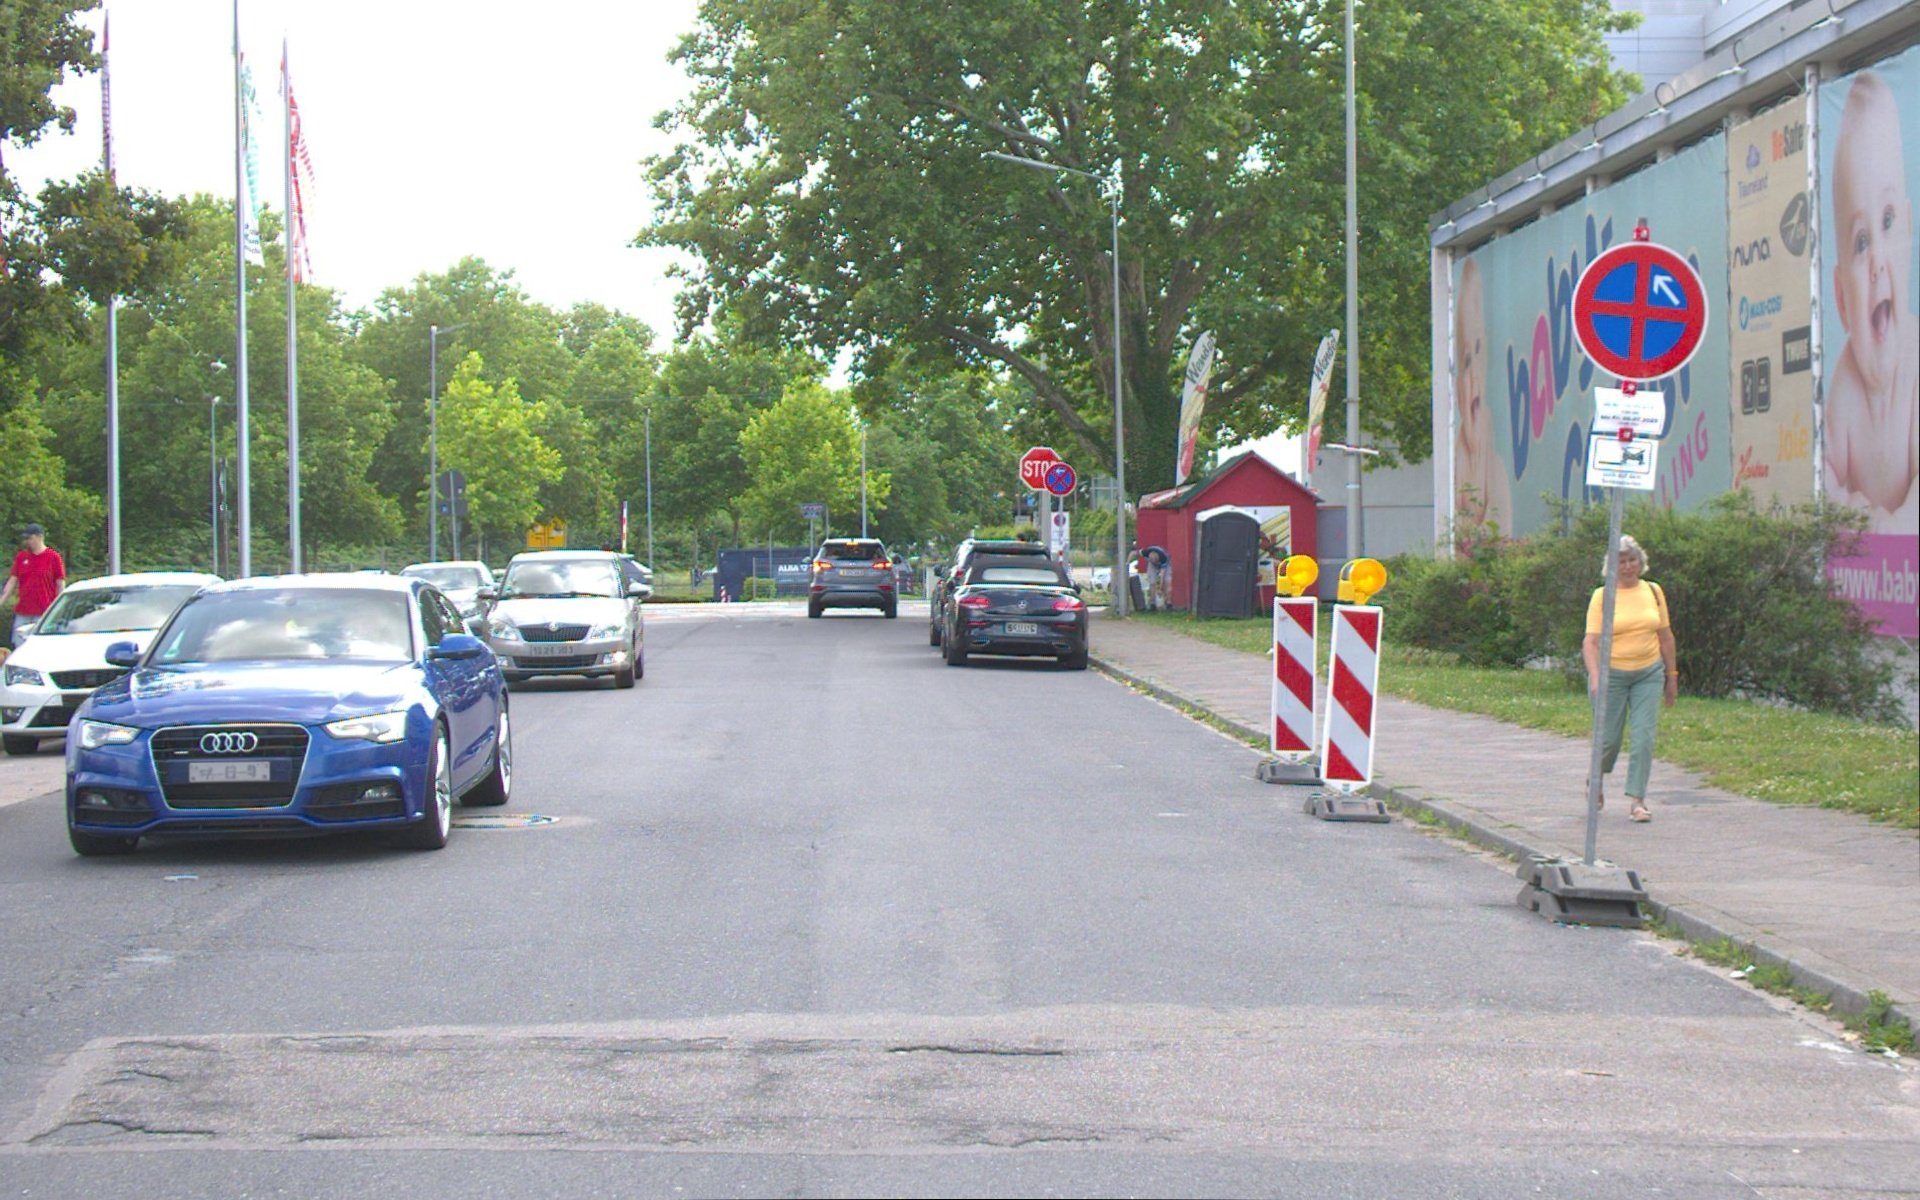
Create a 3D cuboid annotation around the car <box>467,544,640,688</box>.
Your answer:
[{"bbox_3d":[-4.458,0.135,38.141,1.590,1.460,3.762,-2,1,-2],"label":"car"}]

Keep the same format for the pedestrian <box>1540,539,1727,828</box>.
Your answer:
[{"bbox_3d":[3.676,0.435,18.835,0.681,1.528,1.130,0,0,-7],"label":"pedestrian"}]

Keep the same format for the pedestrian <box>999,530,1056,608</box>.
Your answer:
[{"bbox_3d":[1.615,-0.739,82.554,1.000,1.843,1.230,0,0,-19],"label":"pedestrian"}]

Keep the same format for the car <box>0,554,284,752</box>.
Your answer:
[{"bbox_3d":[-7.070,0.399,29.649,1.765,1.474,4.236,-3,1,-3],"label":"car"}]

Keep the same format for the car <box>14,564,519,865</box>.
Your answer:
[{"bbox_3d":[-3.573,0.520,18.522,1.923,1.372,4.380,-1,1,-1],"label":"car"}]

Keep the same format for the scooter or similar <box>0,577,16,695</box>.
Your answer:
[{"bbox_3d":[-9.983,0.368,34.468,0.517,1.189,1.279,0,1,9],"label":"scooter or similar"}]

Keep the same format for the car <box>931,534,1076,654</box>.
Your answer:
[{"bbox_3d":[0.608,-0.128,51.567,1.808,1.659,4.641,2,1,-3],"label":"car"}]

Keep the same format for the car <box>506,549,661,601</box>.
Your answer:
[{"bbox_3d":[-10.494,-0.714,96.049,4.219,1.401,1.924,-1,1,-4],"label":"car"}]

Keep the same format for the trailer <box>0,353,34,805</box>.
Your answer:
[{"bbox_3d":[-6.892,-0.065,19.320,2.139,2.773,4.704,-3,1,-2],"label":"trailer"}]

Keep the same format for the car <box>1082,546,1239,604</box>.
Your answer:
[{"bbox_3d":[5.643,-0.727,97.070,4.219,1.574,1.924,-1,1,-4],"label":"car"}]

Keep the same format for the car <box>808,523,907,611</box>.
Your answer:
[{"bbox_3d":[-2.243,-0.729,74.078,1.961,1.809,4.276,-1,1,-4],"label":"car"}]

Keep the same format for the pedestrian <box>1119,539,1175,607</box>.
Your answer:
[{"bbox_3d":[3.618,-0.525,66.423,1.014,1.309,0.964,0,0,6],"label":"pedestrian"}]

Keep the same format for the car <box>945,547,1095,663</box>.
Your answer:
[{"bbox_3d":[0.741,0.031,45.383,1.808,1.386,4.588,2,1,-1],"label":"car"}]

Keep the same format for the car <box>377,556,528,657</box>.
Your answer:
[{"bbox_3d":[-7.994,0.074,54.467,1.709,1.415,4.331,-3,1,0],"label":"car"}]

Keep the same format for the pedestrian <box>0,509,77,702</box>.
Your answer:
[{"bbox_3d":[-9.844,0.055,36.321,0.809,2.007,0.885,0,0,-2],"label":"pedestrian"}]
